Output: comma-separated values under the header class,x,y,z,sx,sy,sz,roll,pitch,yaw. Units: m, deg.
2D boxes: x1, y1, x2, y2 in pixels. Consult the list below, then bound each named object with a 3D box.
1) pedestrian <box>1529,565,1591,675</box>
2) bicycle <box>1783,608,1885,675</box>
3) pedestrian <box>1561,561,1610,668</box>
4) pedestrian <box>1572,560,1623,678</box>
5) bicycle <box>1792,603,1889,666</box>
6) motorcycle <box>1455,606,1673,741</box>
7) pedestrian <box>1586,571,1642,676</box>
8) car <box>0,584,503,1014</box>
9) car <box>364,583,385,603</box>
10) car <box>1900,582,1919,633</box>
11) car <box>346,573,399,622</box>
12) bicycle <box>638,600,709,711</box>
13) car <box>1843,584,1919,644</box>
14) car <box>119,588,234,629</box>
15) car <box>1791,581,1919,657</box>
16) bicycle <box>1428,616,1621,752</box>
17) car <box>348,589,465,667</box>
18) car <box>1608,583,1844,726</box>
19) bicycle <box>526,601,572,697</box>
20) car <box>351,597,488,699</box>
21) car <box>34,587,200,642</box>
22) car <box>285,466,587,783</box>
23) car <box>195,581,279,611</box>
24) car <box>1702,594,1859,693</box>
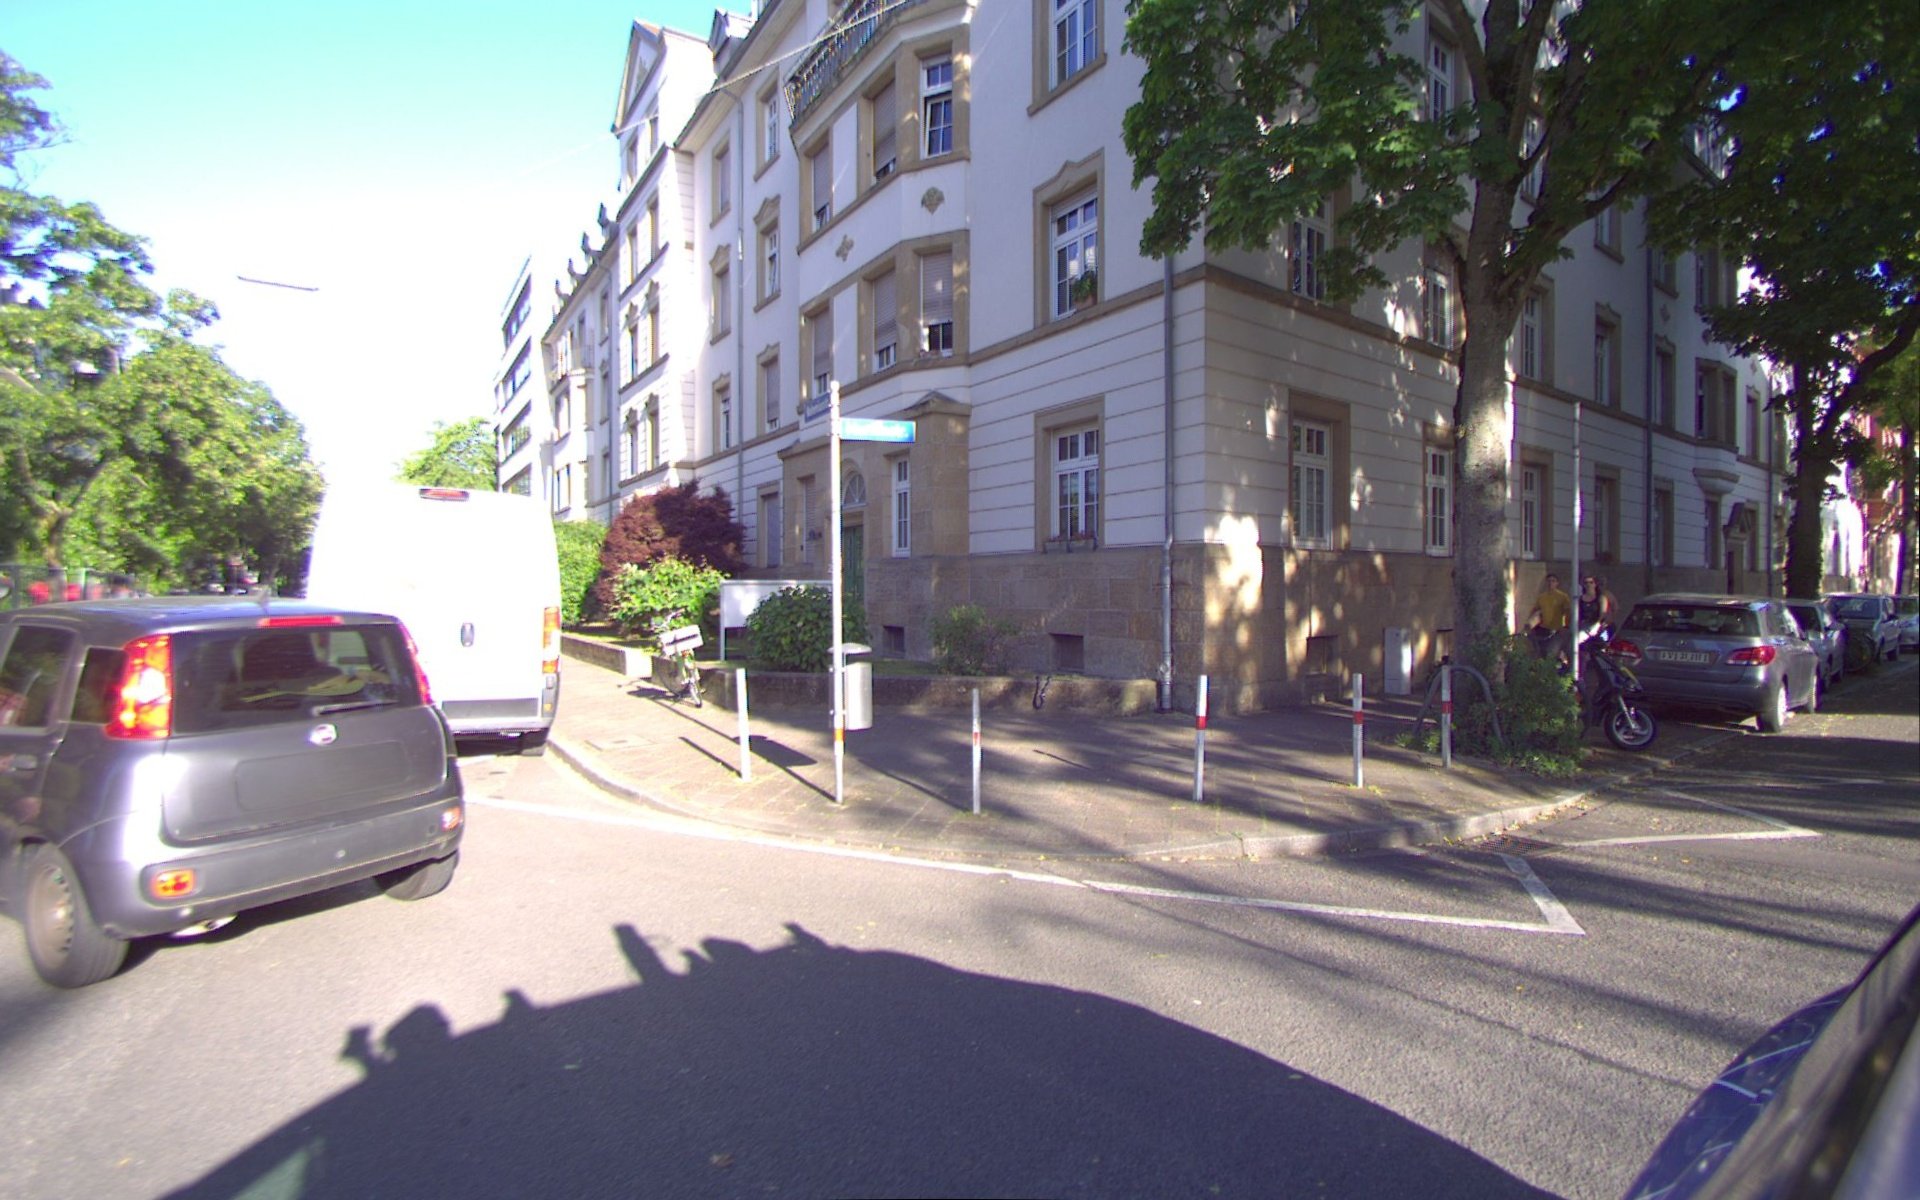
class,x,y,z,sx,sy,sz,roll,pitch,yaw
pedestrian,9.577,0.301,16.143,0.804,1.706,0.624,0,0,-41
bicycle,16.429,0.754,19.045,0.330,1.210,1.412,0,0,-42
pedestrian,11.176,0.247,18.078,0.694,1.868,0.529,0,0,-39
pedestrian,9.625,0.275,15.290,0.508,1.740,0.519,0,0,-42
bicycle,17.348,0.659,19.964,0.330,1.210,1.412,0,0,-42
motorcycle,6.394,0.730,10.795,0.667,1.228,1.852,1,1,-43
pedestrian,12.038,0.411,18.631,0.704,1.868,0.827,-1,0,44
car,-4.163,0.698,5.104,3.500,1.502,1.623,0,0,29
car,-64.464,-0.785,111.367,1.960,2.229,4.004,-1,1,-30
car,31.109,0.209,31.838,3.930,1.549,1.823,-1,0,-40
car,-28.486,-0.159,48.973,2.097,2.223,5.343,-1,1,-31
bicycle,-3.722,0.661,13.053,0.625,1.306,1.874,-1,1,-24
car,24.345,0.317,26.218,3.930,1.460,1.650,-1,0,-41
car,-34.571,0.335,44.801,3.924,1.683,1.727,-1,1,-35
car,20.017,0.360,22.550,3.930,1.552,1.638,-1,0,-41
bicycle,5.684,0.797,10.313,0.424,1.176,1.802,0,1,-24
car,-11.649,0.502,21.168,1.755,1.441,4.220,-1,1,-34
car,9.992,0.571,13.087,4.063,1.559,1.683,-1,1,-42
bicycle,-6.030,0.672,14.808,0.463,1.306,1.873,-1,1,-27
car,-9.140,0.690,16.950,1.755,1.457,4.002,-1,1,-32
car,-28.154,0.476,33.985,4.103,1.668,1.999,-1,-2,-35
car,-5.785,0.150,11.002,2.260,2.499,5.670,-1,1,-31
car,-42.283,-0.239,59.238,3.925,1.683,1.727,-1,1,-36
car,13.900,0.637,17.076,1.723,1.424,3.794,1,1,44
